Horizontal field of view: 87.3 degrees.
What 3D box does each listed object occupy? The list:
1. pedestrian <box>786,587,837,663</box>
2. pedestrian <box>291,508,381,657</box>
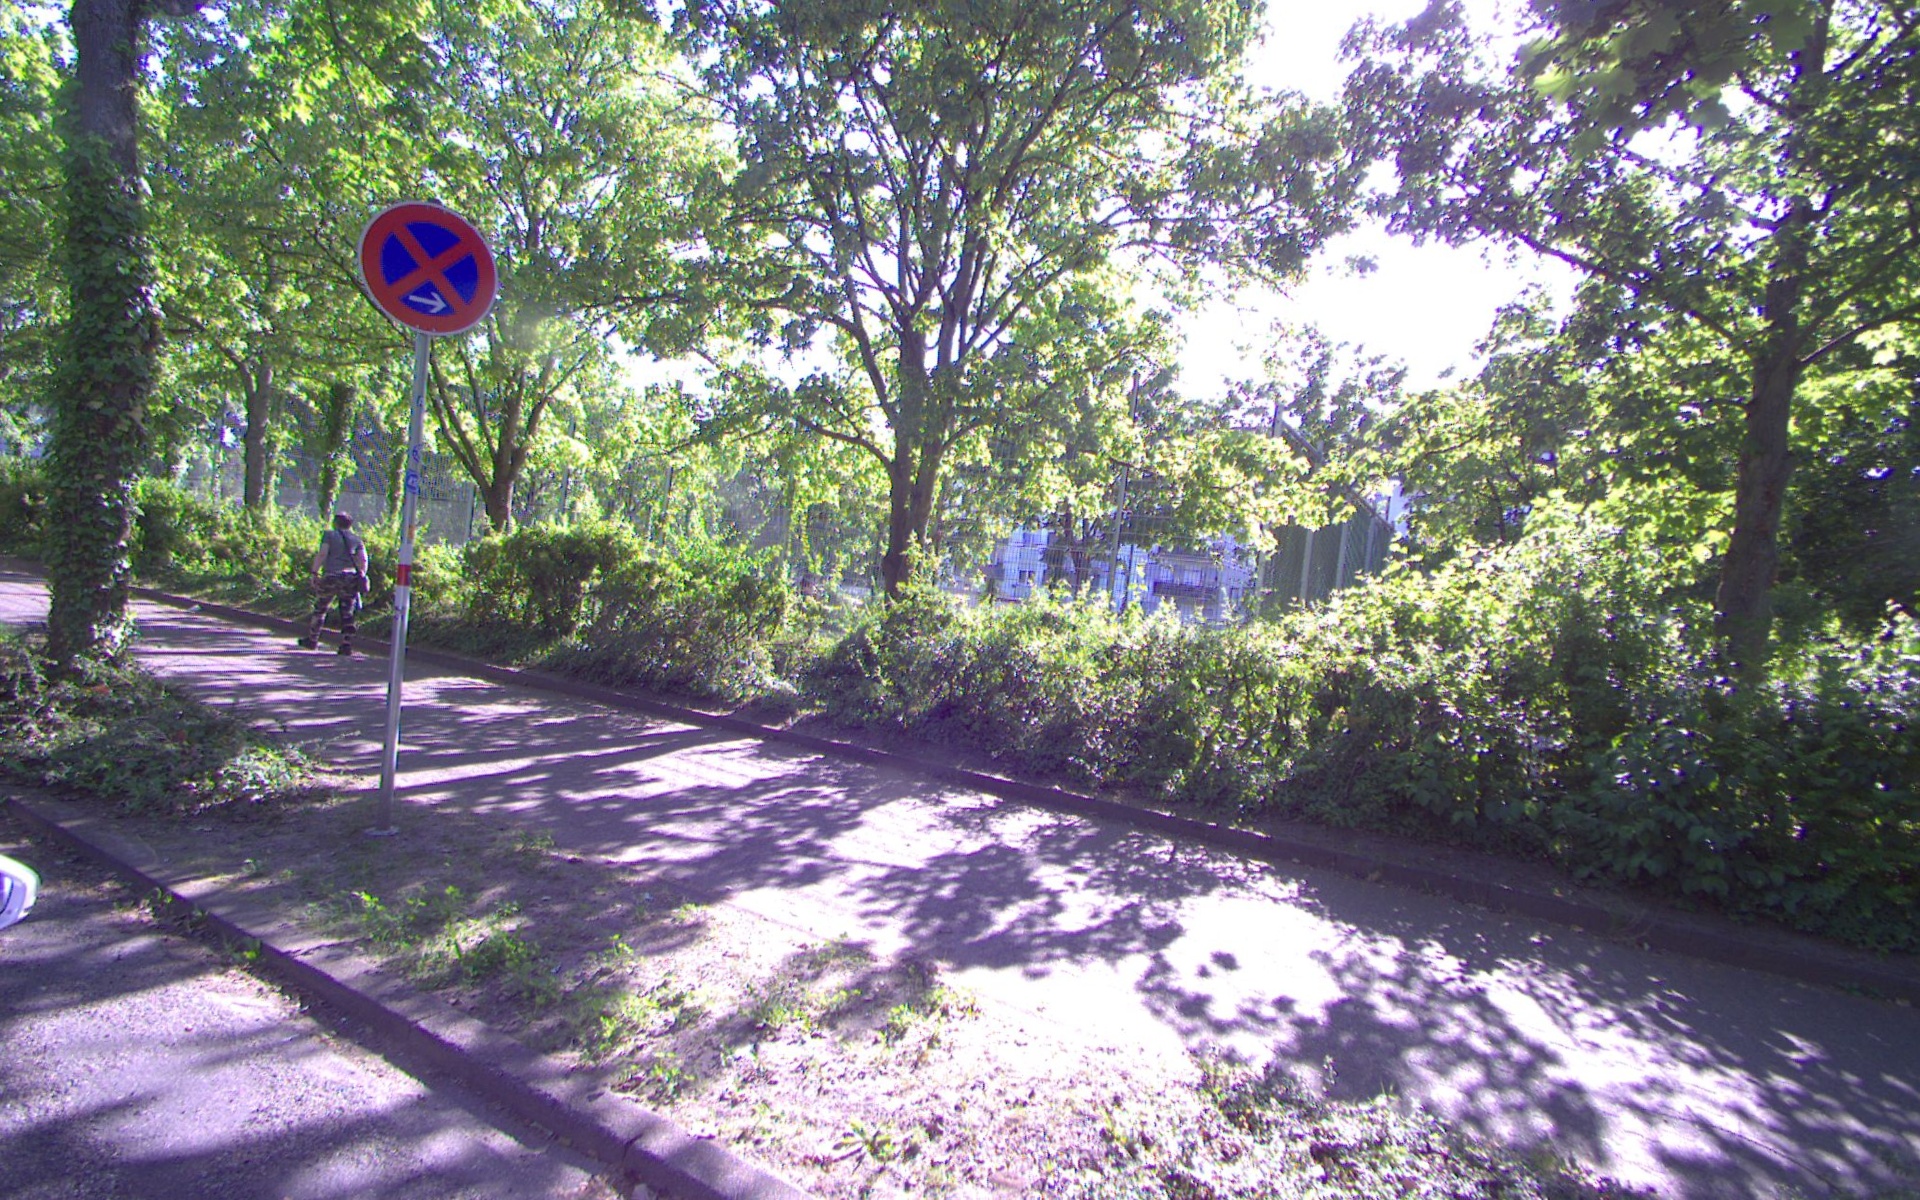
[{"bbox_3d":[-2.641,0.447,17.901,0.558,1.254,0.539,9,-2,-39],"label":"pedestrian"},{"bbox_3d":[-7.255,-0.204,11.695,0.661,1.627,0.571,7,0,40],"label":"pedestrian"}]
